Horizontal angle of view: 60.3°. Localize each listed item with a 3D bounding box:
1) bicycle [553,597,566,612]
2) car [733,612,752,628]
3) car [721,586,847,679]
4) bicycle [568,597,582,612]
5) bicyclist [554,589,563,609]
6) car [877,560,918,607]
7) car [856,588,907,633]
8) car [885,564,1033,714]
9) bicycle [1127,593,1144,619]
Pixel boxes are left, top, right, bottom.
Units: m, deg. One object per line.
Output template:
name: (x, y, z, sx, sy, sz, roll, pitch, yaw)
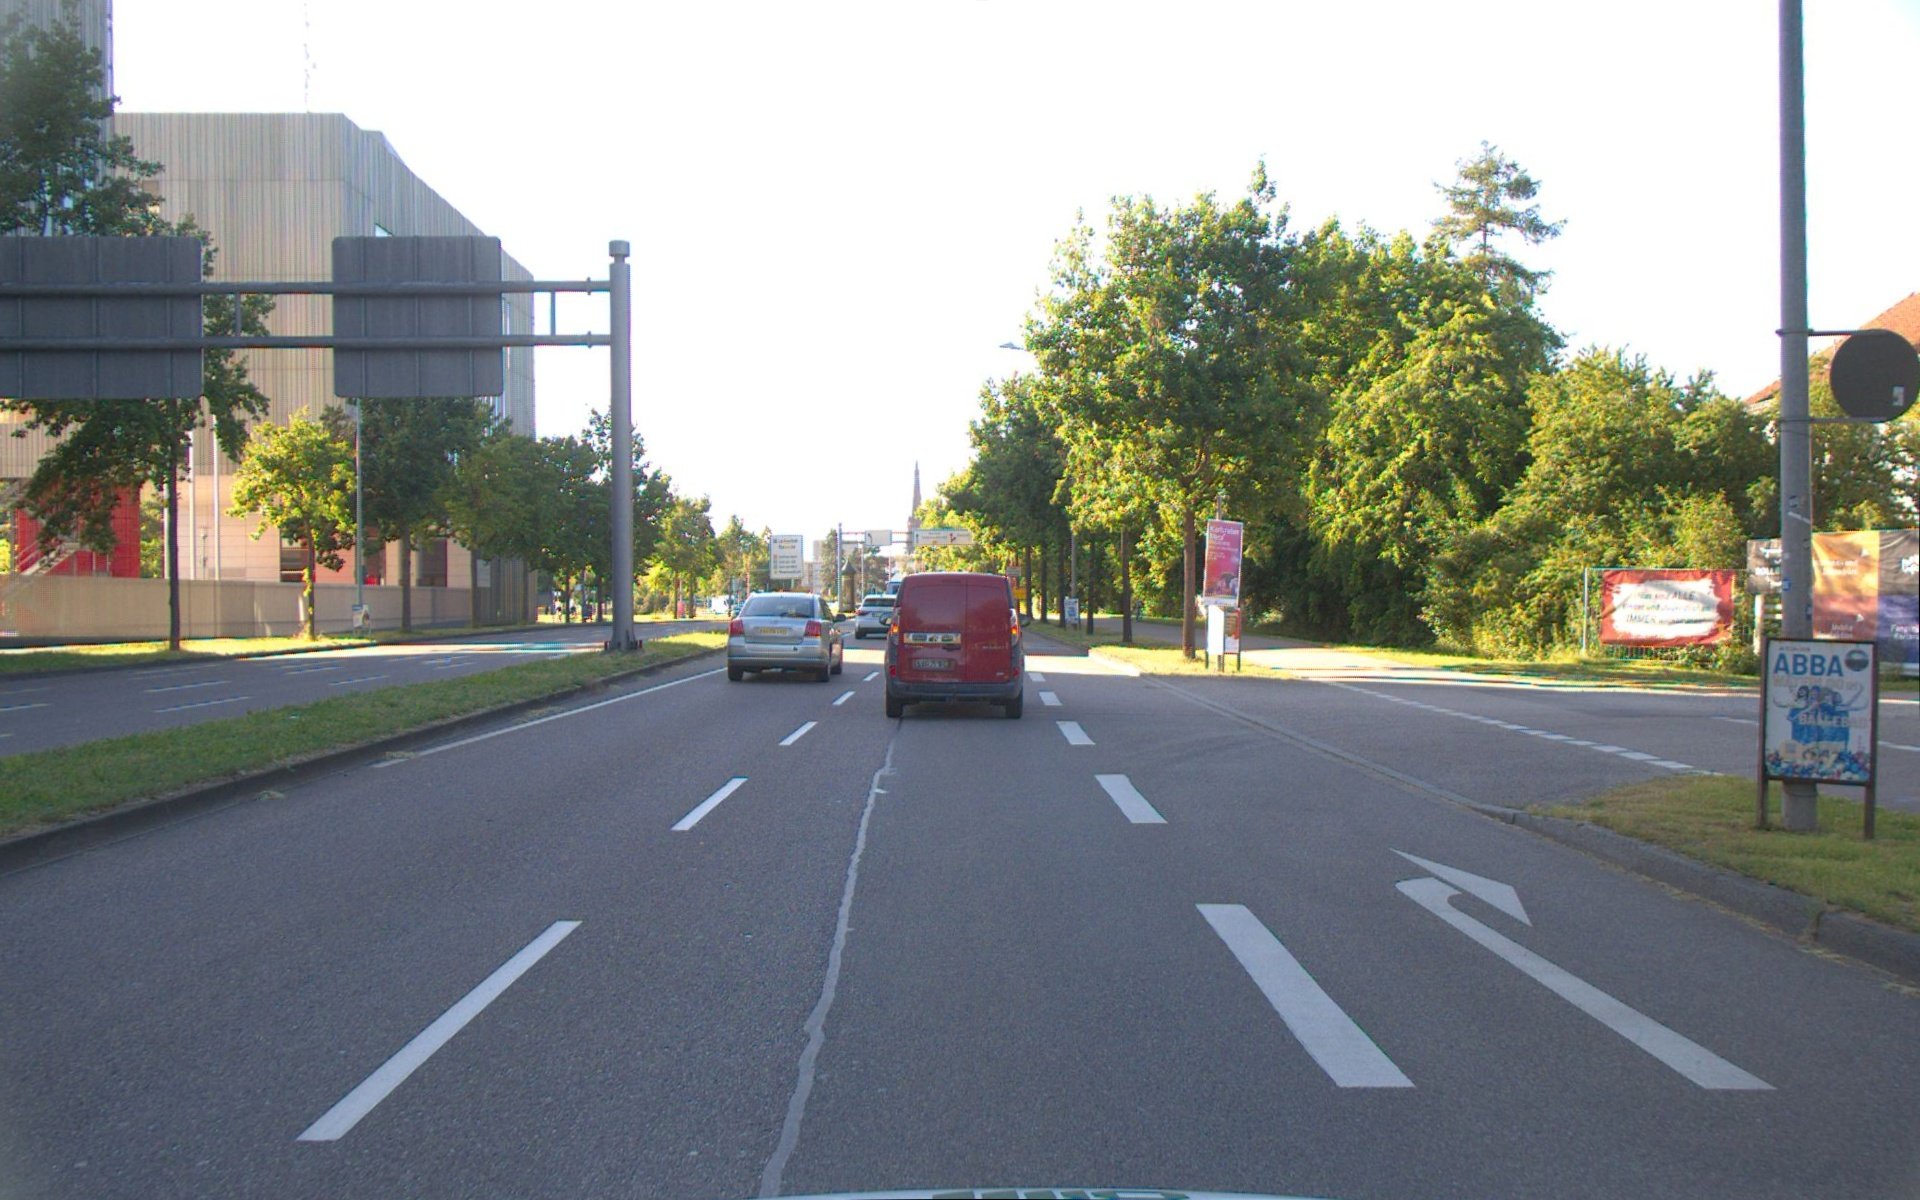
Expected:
bicycle: (-28.272, 0.338, 116.650, 0.477, 1.021, 2.095, -1, 0, -2)
car: (-20.203, 1.849, 153.575, 1.417, 1.461, 3.458, -1, 0, -3)
car: (-2.986, 0.523, 28.836, 1.803, 1.482, 4.161, 1, 0, -1)
bicycle: (-27.095, 0.340, 116.377, 0.558, 1.021, 2.095, -1, 0, -3)
bicyclist: (-28.290, -0.076, 116.618, 0.472, 1.419, 0.844, -1, -1, -3)
car: (-2.584, -0.666, 68.681, 1.628, 1.889, 3.557, -1, 0, -2)
car: (-2.584, 0.330, 54.941, 1.628, 1.422, 3.557, -1, 0, -2)
car: (-0.068, 0.469, 21.887, 1.770, 1.790, 4.004, 1, 0, -2)
bicycle: (7.912, 0.246, 74.601, 0.757, 1.151, 1.710, -1, 0, 6)
